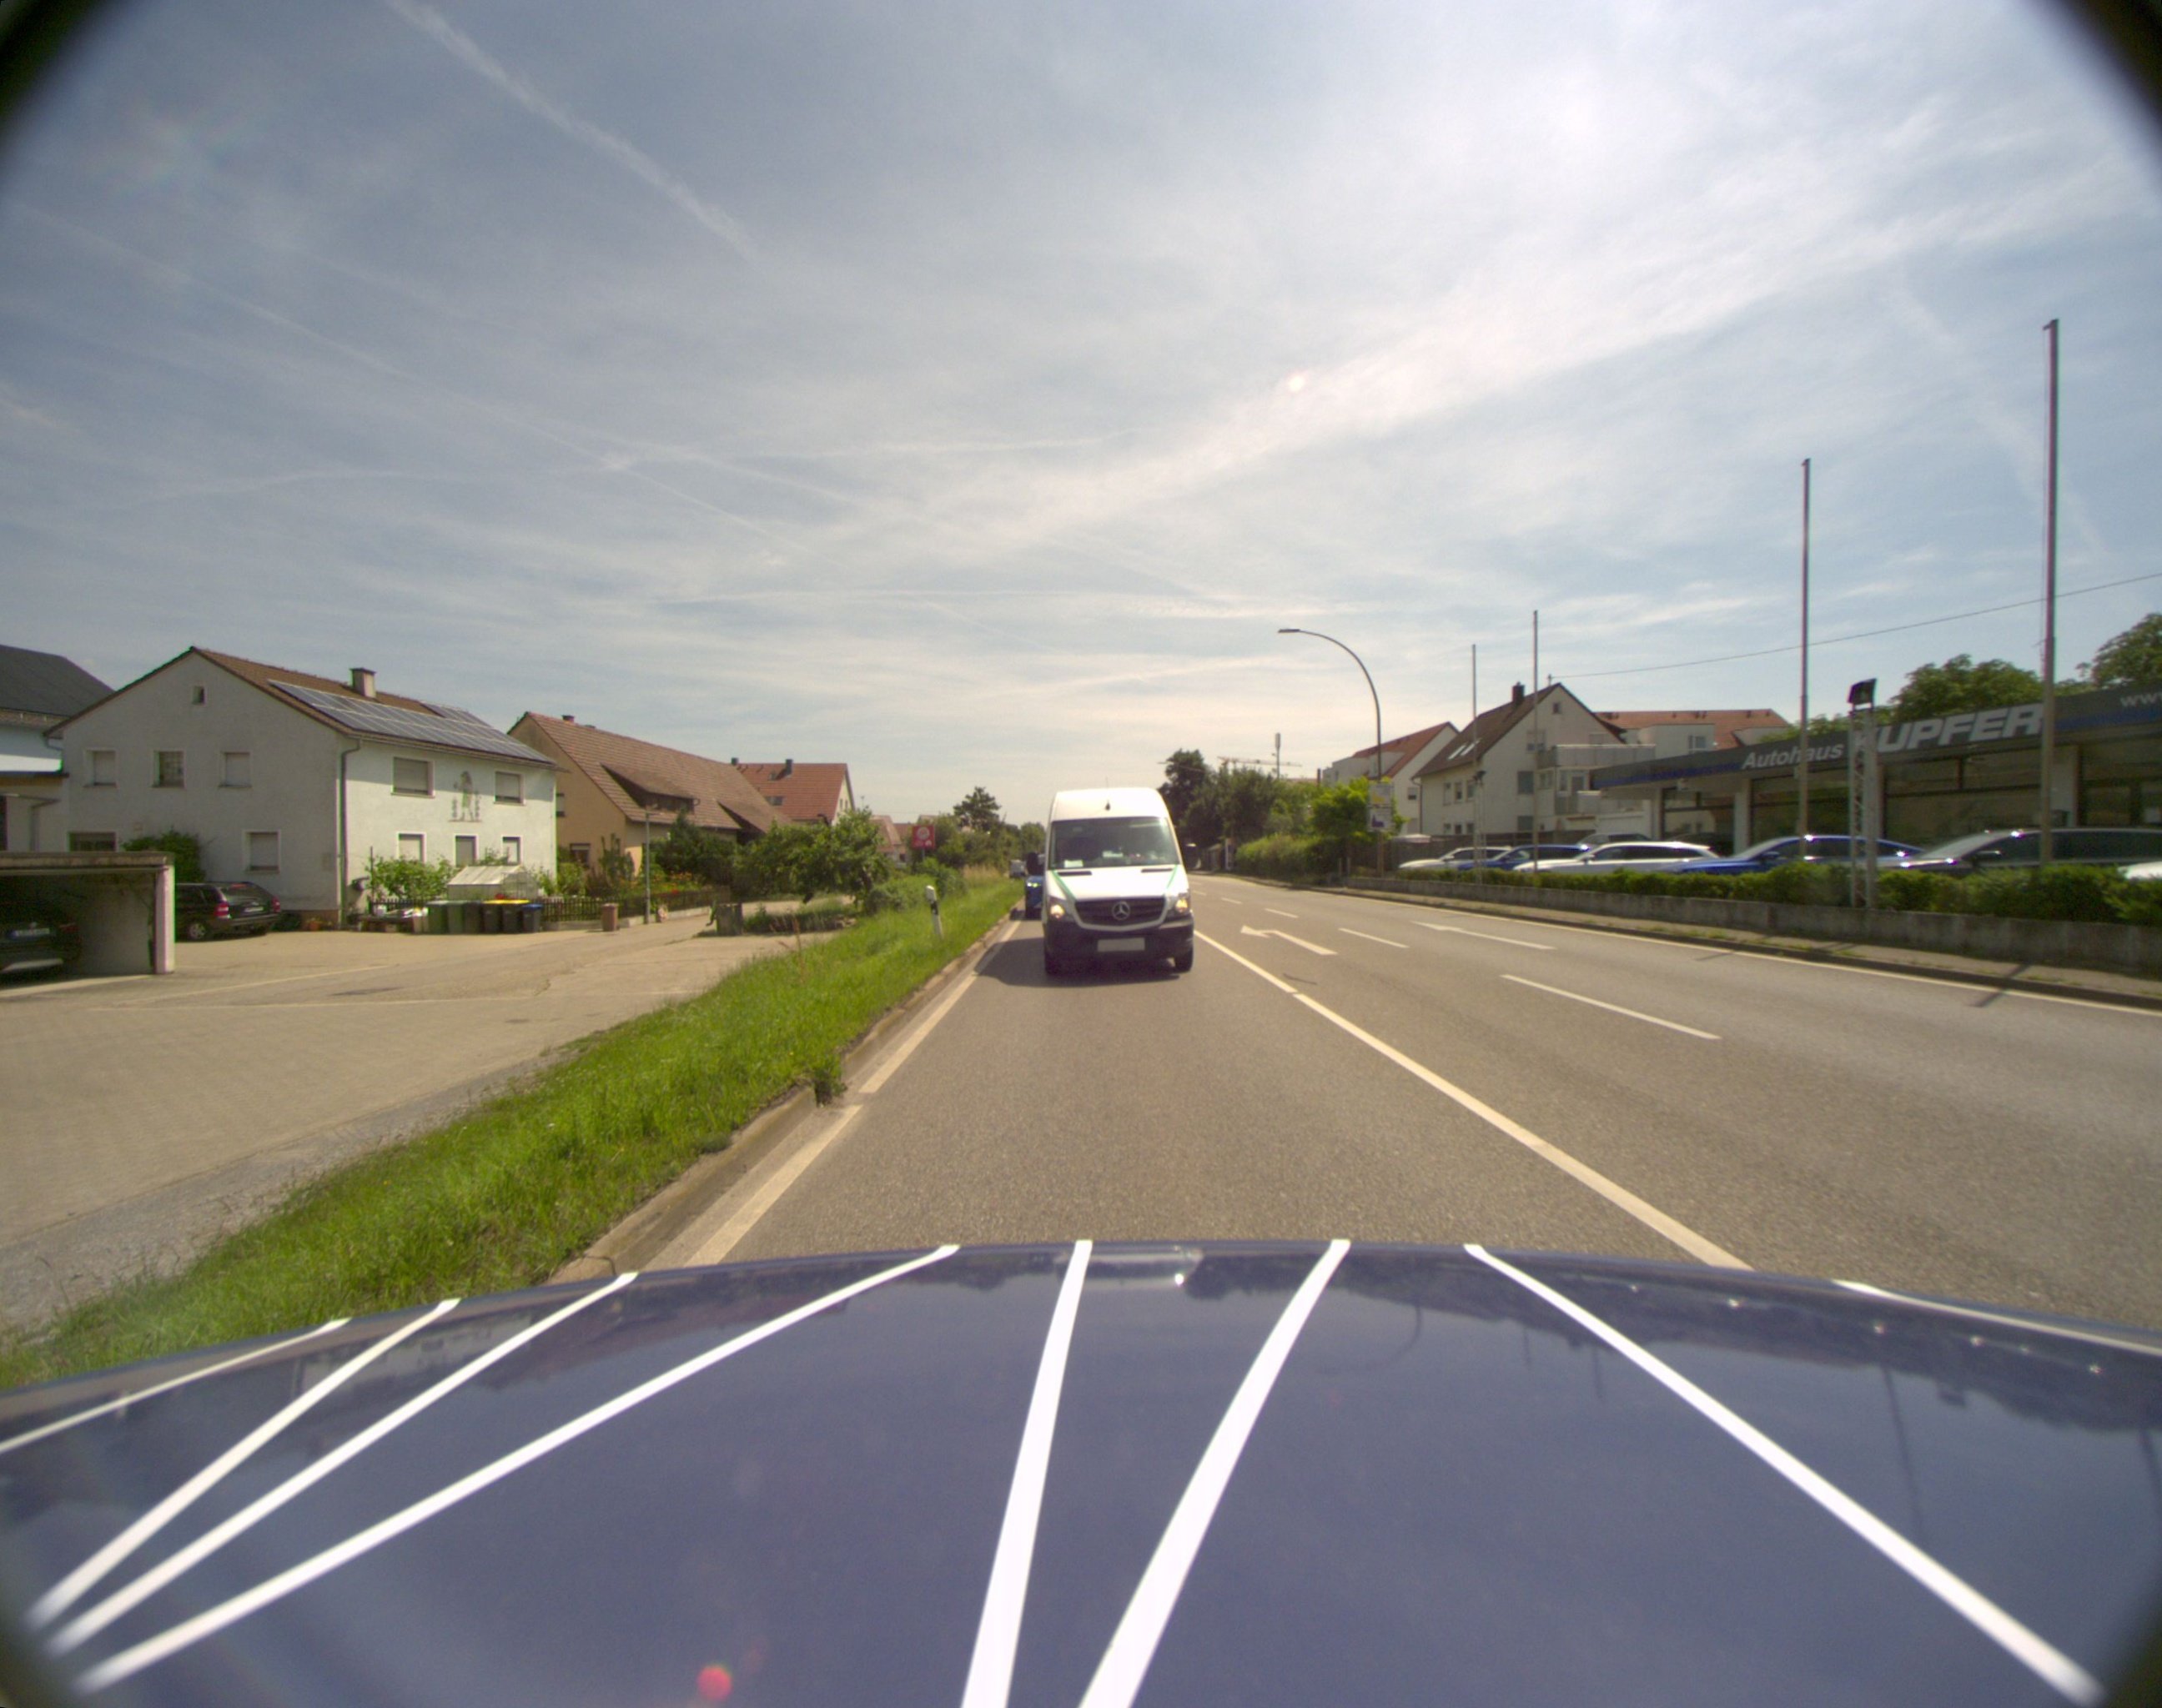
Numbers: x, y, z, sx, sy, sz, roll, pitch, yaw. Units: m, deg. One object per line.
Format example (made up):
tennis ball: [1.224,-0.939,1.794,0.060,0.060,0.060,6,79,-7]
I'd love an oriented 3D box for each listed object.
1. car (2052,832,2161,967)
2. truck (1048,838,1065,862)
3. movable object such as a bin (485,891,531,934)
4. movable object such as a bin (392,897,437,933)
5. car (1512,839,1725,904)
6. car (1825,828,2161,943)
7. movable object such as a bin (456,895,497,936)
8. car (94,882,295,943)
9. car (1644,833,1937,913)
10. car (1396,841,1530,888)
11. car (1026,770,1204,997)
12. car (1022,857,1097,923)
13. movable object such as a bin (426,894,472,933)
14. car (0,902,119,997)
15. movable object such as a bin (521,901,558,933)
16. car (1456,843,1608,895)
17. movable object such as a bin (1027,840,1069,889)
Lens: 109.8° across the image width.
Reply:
car: [13.970,0.430,7.941,4.329,1.451,1.858,-2,0,25]
truck: [-4.149,-0.685,128.603,2.506,3.848,5.497,-2,0,-1]
movable object such as a bin: [-19.365,1.958,25.698,0.765,1.362,0.946,-2,0,0]
movable object such as a bin: [-22.610,2.061,25.778,0.740,1.149,0.830,-2,0,0]
car: [13.853,0.475,19.940,4.303,1.510,2.003,-2,0,28]
car: [14.478,0.450,11.463,4.250,1.536,1.853,-2,0,24]
movable object such as a bin: [-20.696,2.096,26.025,0.678,1.330,0.820,-2,0,0]
car: [-27.078,1.758,23.316,3.997,1.724,1.828,0,1,1]
car: [14.177,0.394,15.533,3.990,1.433,1.857,-2,0,26]
car: [14.112,0.389,28.198,4.255,1.521,2.003,-2,0,27]
car: [0.421,0.350,11.714,1.977,2.584,5.634,-2,0,0]
car: [-0.518,0.890,20.647,1.824,1.574,3.901,-1,0,0]
movable object such as a bin: [-21.618,2.017,26.008,0.745,1.239,0.889,-2,0,0]
car: [-21.231,1.809,14.279,3.996,1.594,1.826,-2,0,2]
movable object such as a bin: [-18.353,2.126,25.770,0.645,1.021,0.756,-2,0,0]
car: [14.181,0.470,24.168,3.990,1.455,2.003,-2,0,27]
movable object such as a bin: [-1.916,0.588,45.973,1.998,2.710,5.419,-2,0,2]
